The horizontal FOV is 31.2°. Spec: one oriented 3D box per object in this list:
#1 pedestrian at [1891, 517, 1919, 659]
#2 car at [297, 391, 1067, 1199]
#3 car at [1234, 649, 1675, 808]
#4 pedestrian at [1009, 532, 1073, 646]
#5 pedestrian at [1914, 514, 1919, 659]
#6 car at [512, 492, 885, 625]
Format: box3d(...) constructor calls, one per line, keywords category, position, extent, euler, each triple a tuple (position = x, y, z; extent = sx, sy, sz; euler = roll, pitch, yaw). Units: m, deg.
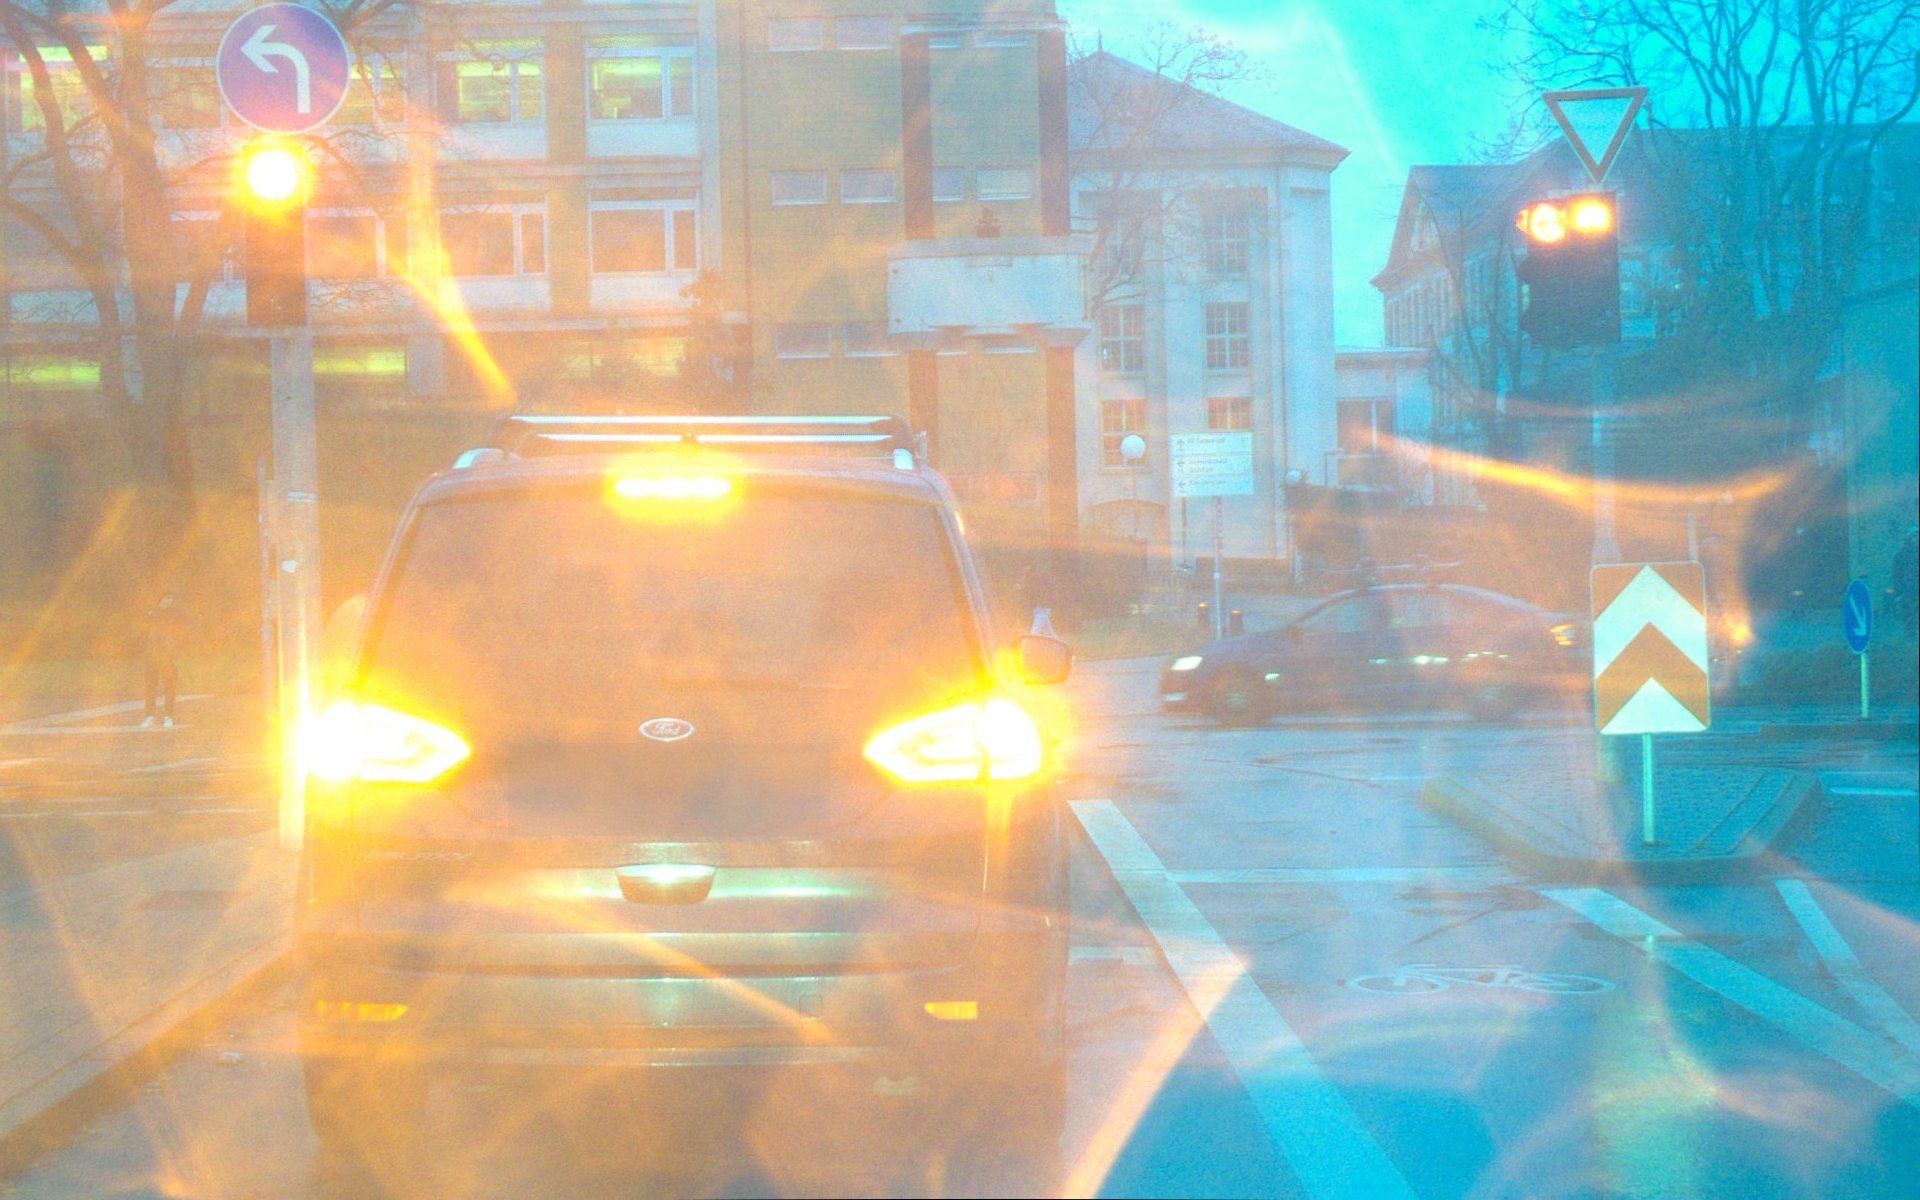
box3d(category="pedestrian", position=(12.340, -0.149, 44.692), extent=(0.438, 1.832, 0.459), euler=(0, -1, 17))
box3d(category="car", position=(-0.624, 0.419, 9.377), extent=(1.647, 1.812, 4.000), euler=(0, 1, -1))
box3d(category="car", position=(5.217, 1.313, 36.034), extent=(4.435, 1.575, 1.967), euler=(0, -1, 13))
box3d(category="pedestrian", position=(1.193, -0.156, 50.644), extent=(0.684, 1.655, 0.677), euler=(1, -1, -27))
box3d(category="pedestrian", position=(12.356, -0.167, 43.636), extent=(0.458, 1.832, 0.438), euler=(0, -1, 17))
box3d(category="car", position=(-4.046, -0.638, 53.670), extent=(5.548, 2.017, 1.999), euler=(0, -1, 5))
